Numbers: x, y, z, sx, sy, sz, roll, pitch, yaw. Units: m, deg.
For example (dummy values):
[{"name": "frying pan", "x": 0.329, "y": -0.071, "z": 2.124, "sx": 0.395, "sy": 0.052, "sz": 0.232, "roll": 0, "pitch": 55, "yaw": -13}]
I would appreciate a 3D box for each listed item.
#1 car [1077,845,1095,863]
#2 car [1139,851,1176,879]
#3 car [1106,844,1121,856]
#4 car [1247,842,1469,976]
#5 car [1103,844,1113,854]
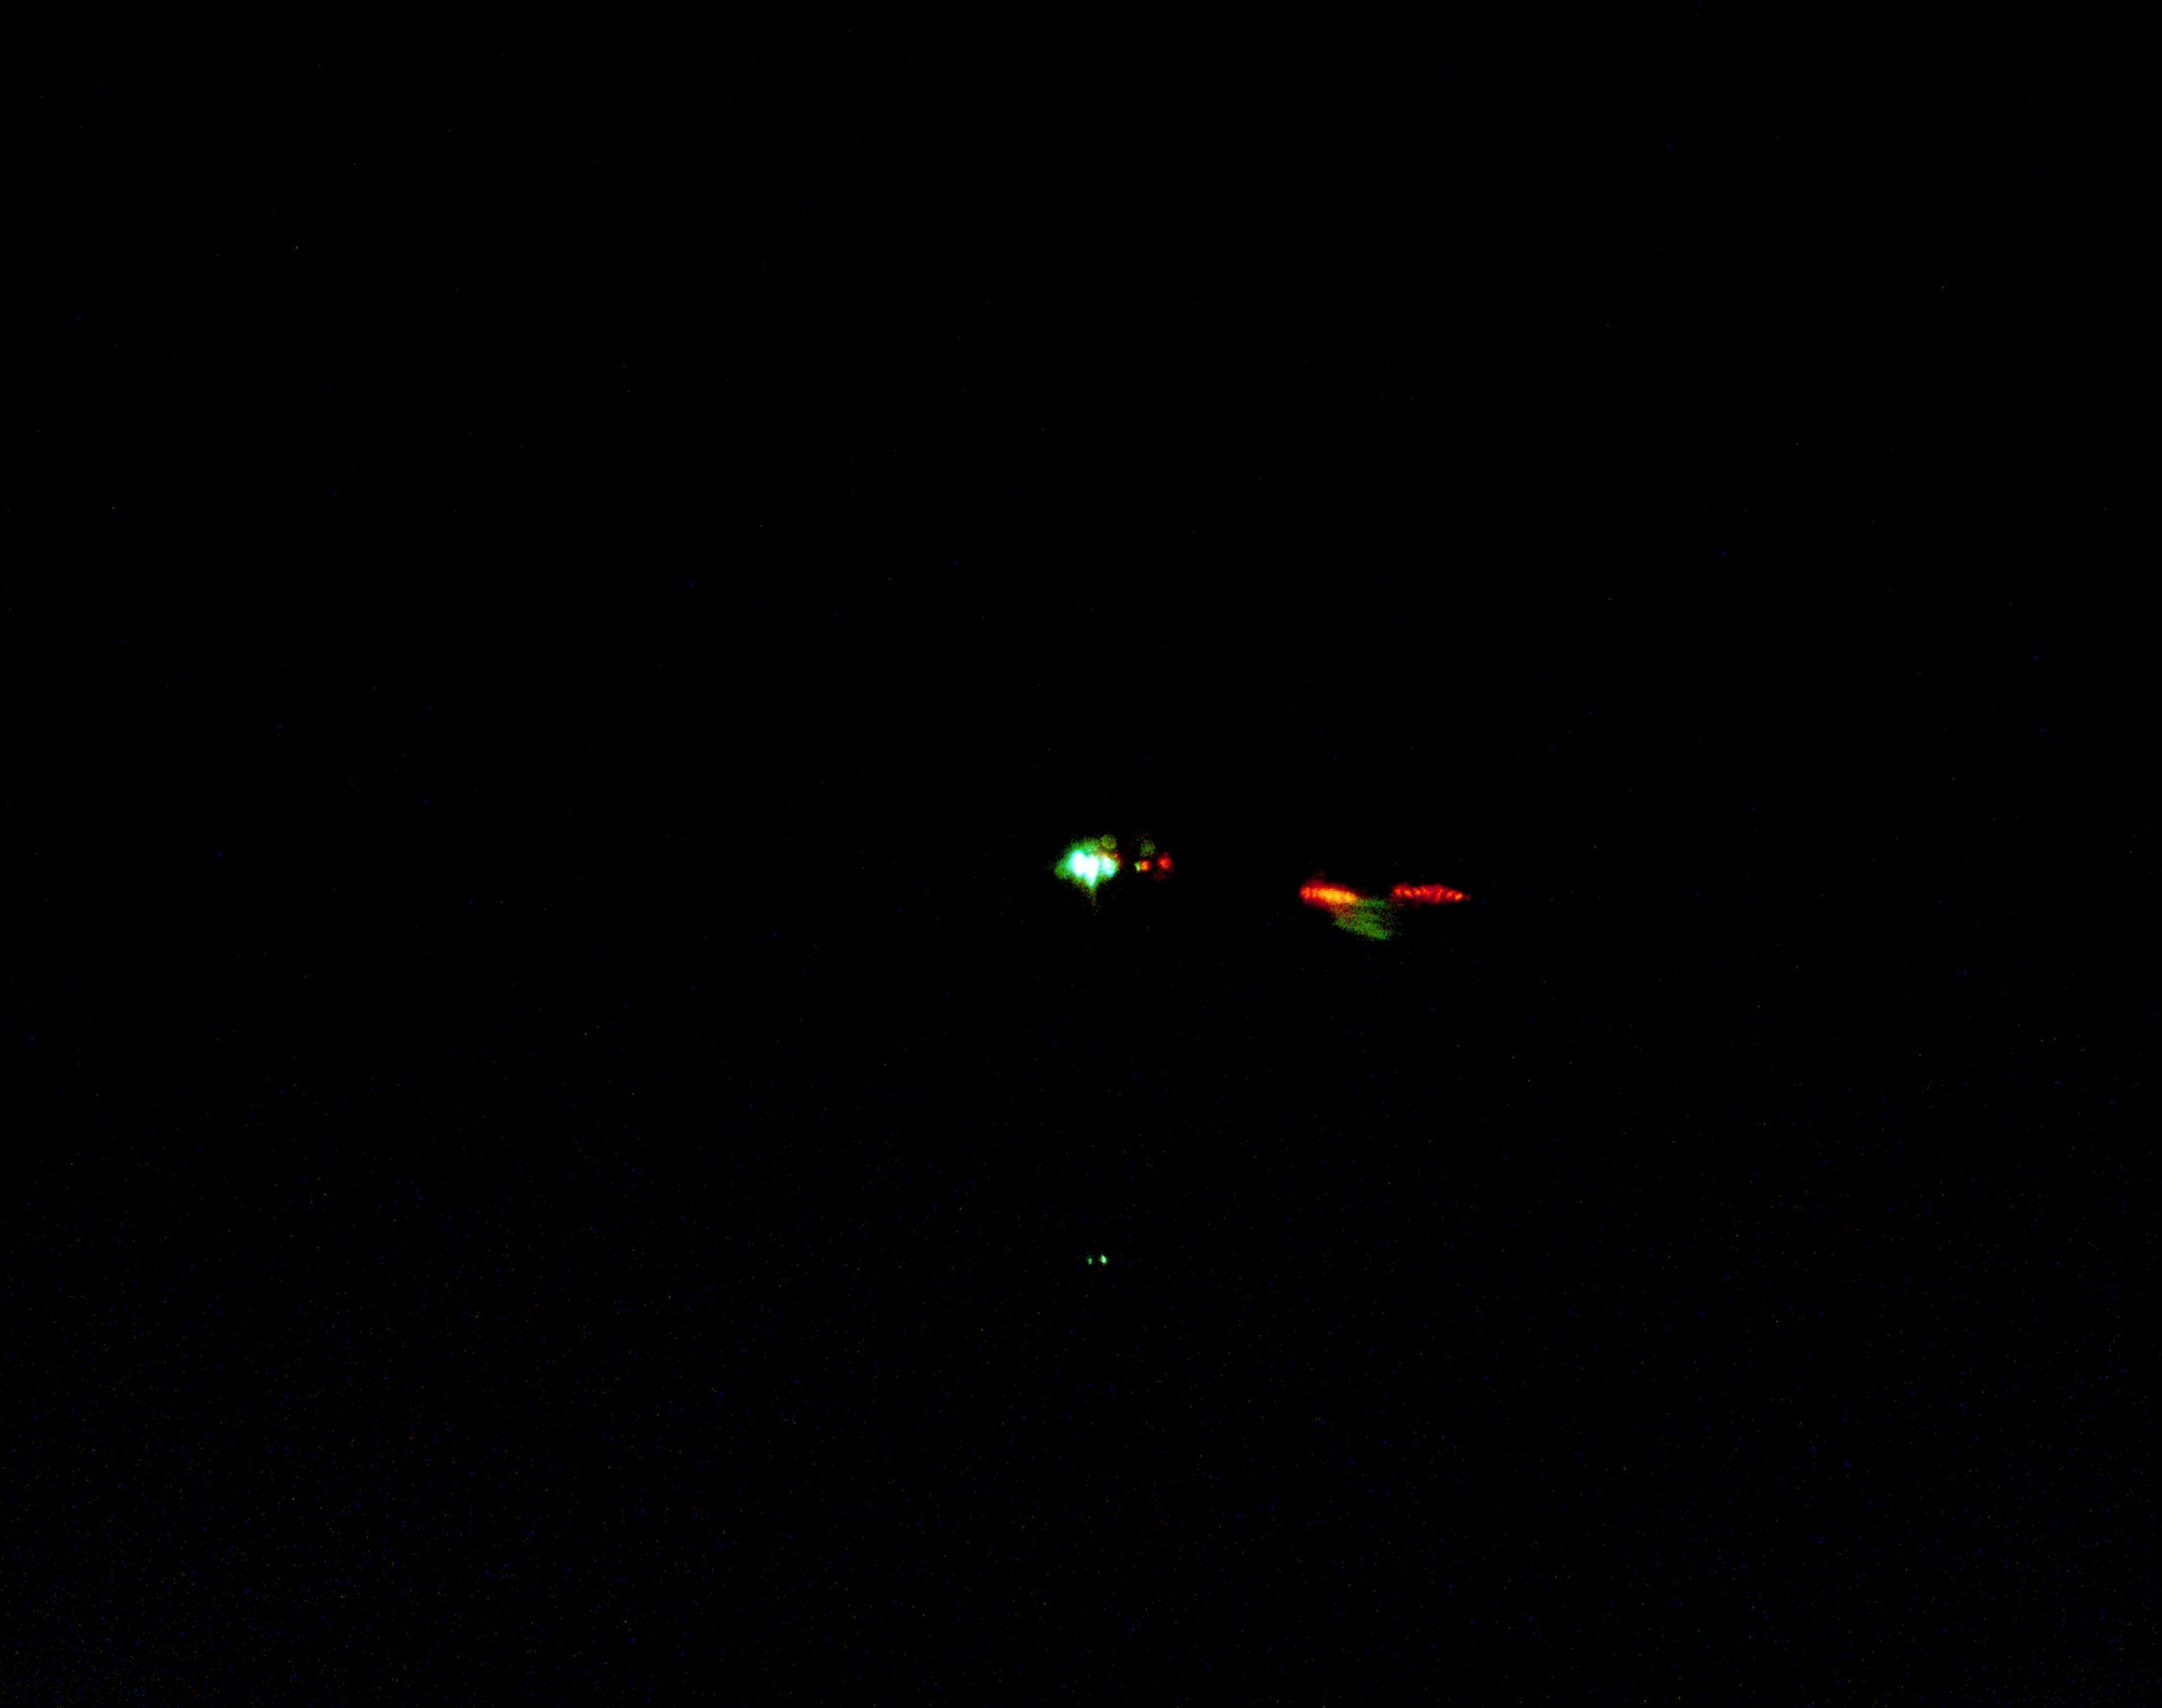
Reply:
[{"name": "car", "x": 0.633, "y": 0.007, "z": 88.600, "sx": 1.998, "sy": 2.002, "sz": 3.999, "roll": -2, "pitch": 1, "yaw": 1}, {"name": "car", "x": 5.009, "y": 0.706, "z": 50.137, "sx": 1.998, "sy": 1.652, "sz": 3.999, "roll": -2, "pitch": 1, "yaw": 1}, {"name": "car", "x": 4.844, "y": -0.608, "z": 113.353, "sx": 1.998, "sy": 1.540, "sz": 3.999, "roll": -3, "pitch": 1, "yaw": 1}, {"name": "car", "x": 4.015, "y": 0.683, "z": 11.816, "sx": 1.998, "sy": 1.652, "sz": 3.999, "roll": -2, "pitch": 1, "yaw": 1}, {"name": "car", "x": 6.015, "y": -1.107, "z": 170.137, "sx": 1.998, "sy": 2.002, "sz": 3.999, "roll": -2, "pitch": 1, "yaw": 1}]
